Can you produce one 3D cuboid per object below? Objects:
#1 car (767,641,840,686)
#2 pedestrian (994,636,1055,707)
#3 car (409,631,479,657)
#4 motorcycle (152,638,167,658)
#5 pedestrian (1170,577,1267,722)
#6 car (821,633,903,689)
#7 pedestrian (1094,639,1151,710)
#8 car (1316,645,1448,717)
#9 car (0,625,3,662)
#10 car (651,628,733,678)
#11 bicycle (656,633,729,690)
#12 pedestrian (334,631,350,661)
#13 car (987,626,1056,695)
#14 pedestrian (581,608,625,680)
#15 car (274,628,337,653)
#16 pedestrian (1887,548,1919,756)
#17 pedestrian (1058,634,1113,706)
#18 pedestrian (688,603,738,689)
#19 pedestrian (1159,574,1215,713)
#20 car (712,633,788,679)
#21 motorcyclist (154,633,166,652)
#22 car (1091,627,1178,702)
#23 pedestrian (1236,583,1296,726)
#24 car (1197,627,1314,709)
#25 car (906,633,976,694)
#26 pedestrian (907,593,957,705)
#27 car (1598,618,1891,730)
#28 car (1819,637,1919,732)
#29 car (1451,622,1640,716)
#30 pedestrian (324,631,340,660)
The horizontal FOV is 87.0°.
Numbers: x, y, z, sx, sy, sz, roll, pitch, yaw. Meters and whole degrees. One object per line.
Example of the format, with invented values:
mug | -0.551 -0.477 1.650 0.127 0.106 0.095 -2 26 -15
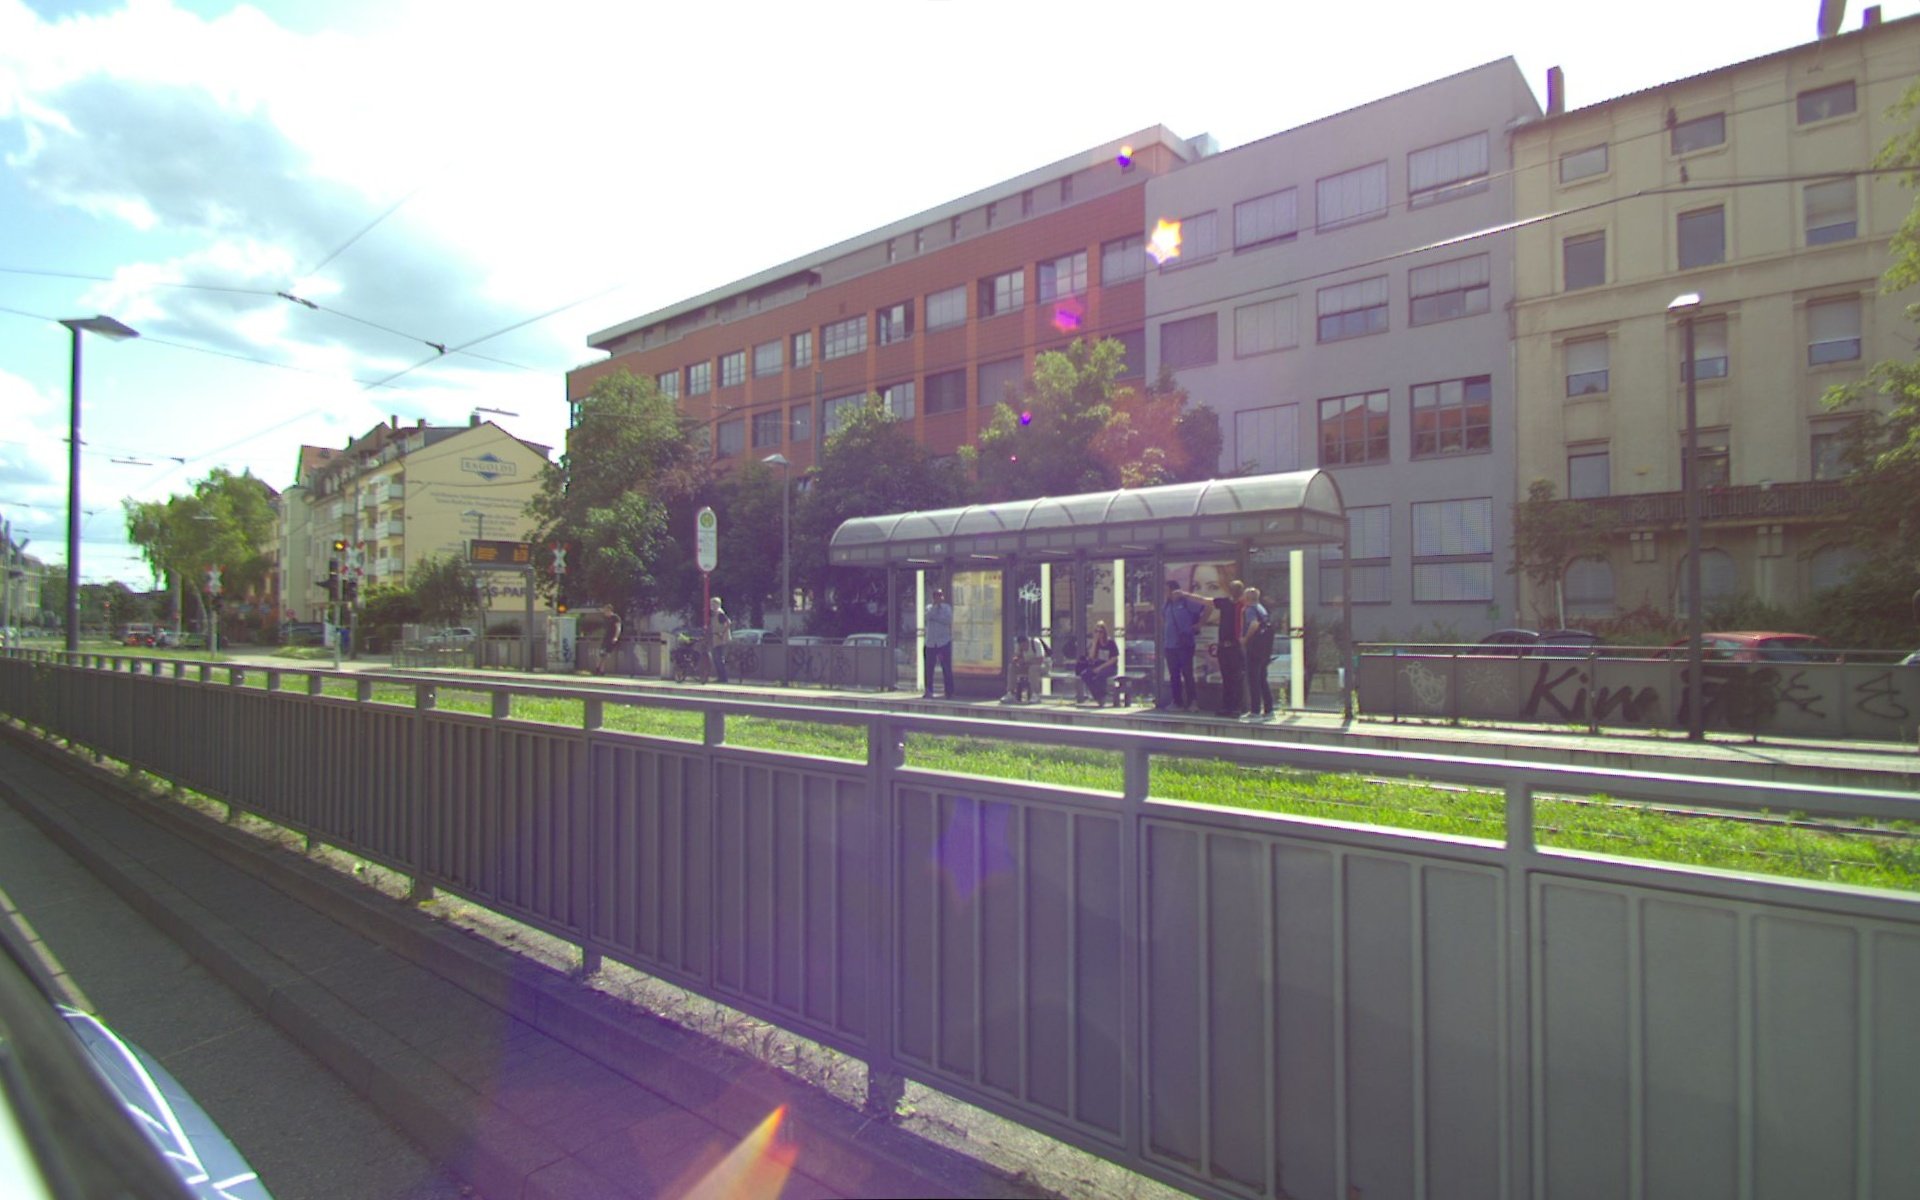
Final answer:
car | -4.964 2.003 32.439 1.583 1.314 3.247 -1 -2 5
pedestrian | 0.987 1.073 15.383 0.623 1.039 0.712 -1 -3 38
car | -32.096 2.729 63.020 3.558 1.491 1.777 1 -6 -43
motorcycle | -61.298 3.661 77.520 2.010 1.414 0.626 -1 0 43
pedestrian | 3.277 0.613 12.842 1.035 1.756 0.626 -1 -2 38
car | -2.863 1.786 30.171 1.568 1.431 3.302 -1 0 10
pedestrian | 2.361 1.071 14.690 0.562 1.002 0.698 -1 -3 38
car | 8.834 1.660 21.520 1.774 1.159 3.986 -2 0 11
car | -56.843 2.527 58.599 1.970 2.029 4.004 -1 0 -43
car | -9.468 1.864 36.090 1.850 1.671 3.841 0 -2 1
bicycle | -5.474 1.236 20.649 0.653 1.122 1.880 3 -4 -41
pedestrian | -36.115 2.683 59.137 0.481 1.723 0.641 -2 -3 41
car | 1.665 1.561 27.017 1.651 1.652 3.994 1 -2 4
pedestrian | -8.619 1.056 24.420 0.798 1.712 0.659 -1 -2 38
car | -54.563 3.321 84.359 4.195 2.029 2.003 1 -3 -40
pedestrian | 8.458 0.441 8.571 0.599 1.767 0.626 1 -1 -9
pedestrian | 1.876 1.039 15.149 0.562 1.039 0.647 -1 -3 38
pedestrian | -5.085 0.941 20.847 0.798 1.737 0.632 -1 -2 38
pedestrian | 3.093 0.585 13.813 0.623 1.841 0.438 -1 -2 38
car | -7.247 1.910 35.319 1.629 1.508 3.996 0 -2 3
motorcyclist | -61.264 3.264 77.506 0.693 1.368 0.654 -1 0 43
car | 4.163 1.498 24.650 1.651 1.540 3.995 -2 0 4
pedestrian | 3.629 0.640 11.990 0.556 1.645 0.593 -2 -3 26
car | 6.557 1.464 22.878 1.651 1.540 3.995 -2 0 4
car | -0.473 1.703 27.883 1.651 1.420 3.063 1 0 4
pedestrian | -0.443 0.767 16.118 0.623 1.739 0.481 -1 -1 38
car | 13.121 1.179 17.328 1.809 1.652 4.134 1 -2 1
car | 15.437 1.276 15.068 1.791 1.402 4.023 -1 -2 0
car | 10.907 1.235 19.190 1.590 1.580 3.991 -1 -2 7
pedestrian | -38.558 2.789 62.144 0.588 1.723 0.641 -2 -3 42
